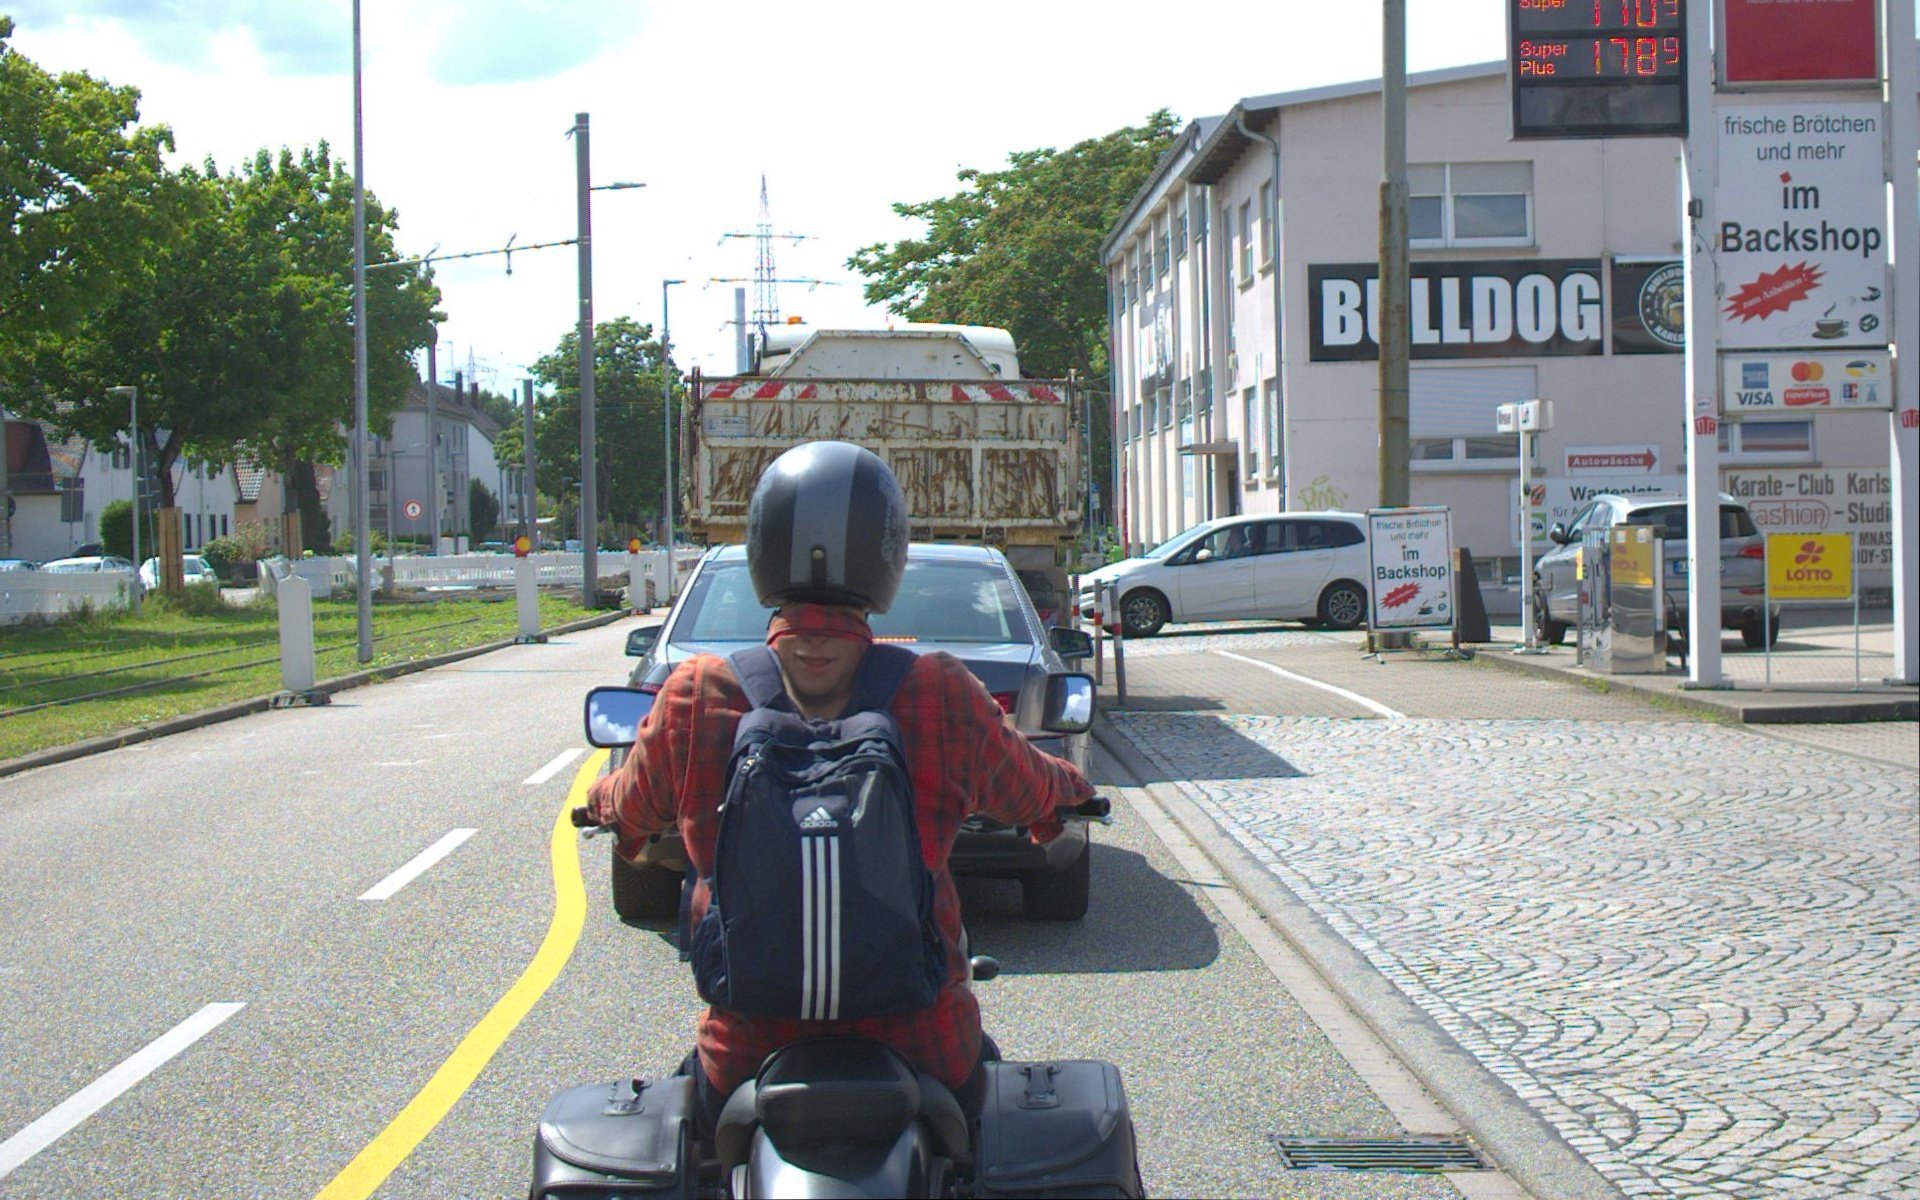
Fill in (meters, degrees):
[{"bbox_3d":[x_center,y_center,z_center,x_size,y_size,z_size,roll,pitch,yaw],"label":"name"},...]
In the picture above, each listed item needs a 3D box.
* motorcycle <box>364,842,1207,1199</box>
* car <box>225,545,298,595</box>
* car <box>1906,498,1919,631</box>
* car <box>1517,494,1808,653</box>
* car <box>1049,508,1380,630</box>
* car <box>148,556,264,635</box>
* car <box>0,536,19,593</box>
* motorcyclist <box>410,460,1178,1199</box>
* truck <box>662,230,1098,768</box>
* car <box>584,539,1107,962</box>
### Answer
[{"bbox_3d":[-0.210,0.956,5.339,0.979,0.894,2.653,-1,1,-1],"label":"motorcycle"},{"bbox_3d":[-25.420,-1.104,125.241,1.776,1.717,4.128,-1,1,0],"label":"car"},{"bbox_3d":[11.735,-0.383,37.091,1.806,1.498,3.834,-1,1,-3],"label":"car"},{"bbox_3d":[7.380,-0.308,36.521,1.667,1.557,4.245,-1,1,-8],"label":"car"},{"bbox_3d":[3.454,-0.437,47.036,4.229,1.537,1.673,-1,1,-8],"label":"car"},{"bbox_3d":[-17.497,-0.133,79.960,1.776,1.717,4.128,-1,1,0],"label":"car"},{"bbox_3d":[-30.045,-1.065,104.405,1.776,1.717,4.128,-1,1,0],"label":"car"},{"bbox_3d":[-0.214,0.614,5.027,0.979,1.597,1.088,-1,1,-1],"label":"motorcyclist"},{"bbox_3d":[-0.541,-0.715,25.364,2.638,3.285,8.057,-1,1,-1],"label":"truck"},{"bbox_3d":[-0.427,0.495,14.121,1.823,1.447,4.000,1,1,-1],"label":"car"}]
